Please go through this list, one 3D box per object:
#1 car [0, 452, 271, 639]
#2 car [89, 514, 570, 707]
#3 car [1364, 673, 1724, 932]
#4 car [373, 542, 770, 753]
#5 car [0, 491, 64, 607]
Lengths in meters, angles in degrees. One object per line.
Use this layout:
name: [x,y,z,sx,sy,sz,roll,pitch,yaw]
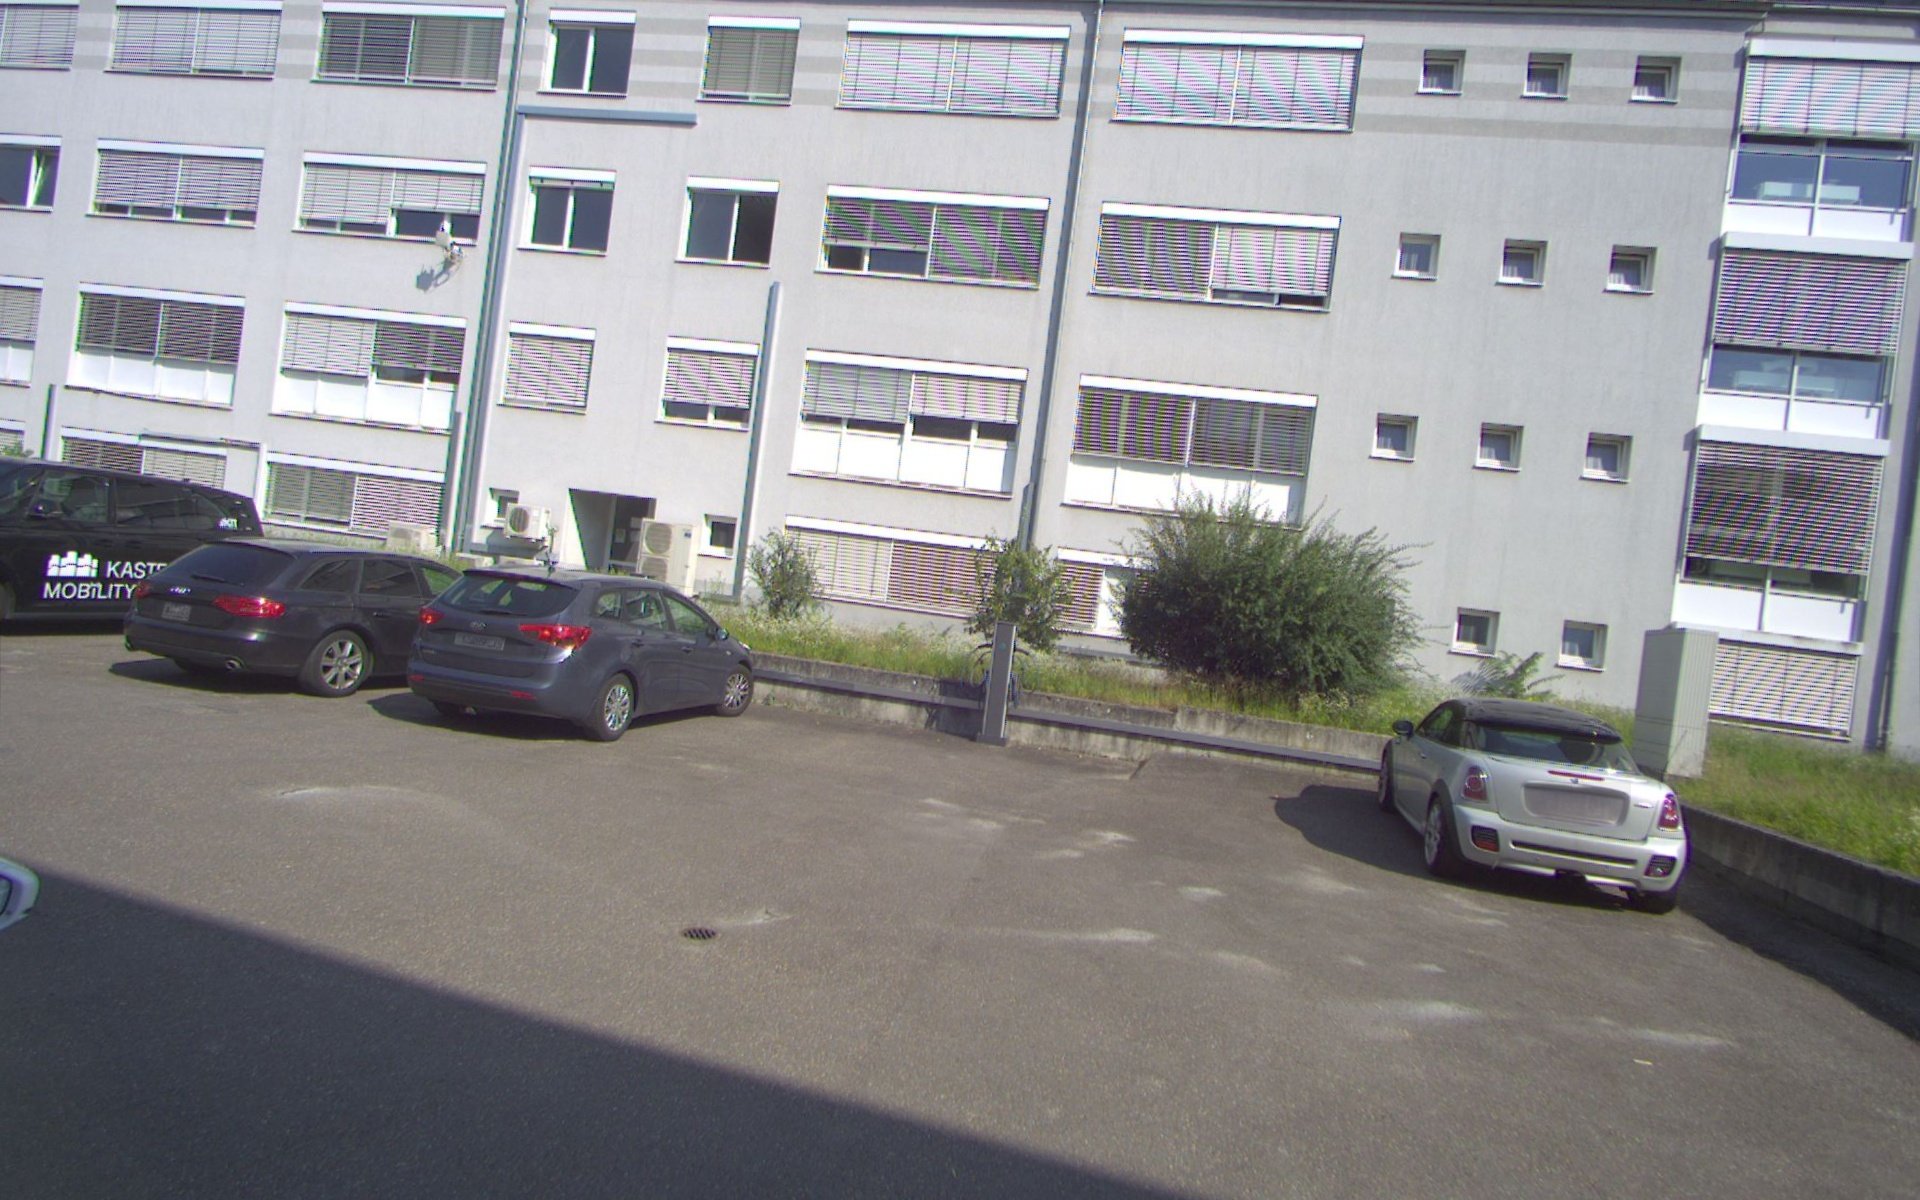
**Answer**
car: [-10.453,-0.639,11.326,1.878,1.881,4.351,8,0,7]
car: [-6.288,0.163,10.732,1.658,1.455,4.249,8,0,14]
car: [4.817,1.545,8.898,1.627,1.455,3.584,8,0,14]
car: [-3.604,0.450,10.253,1.709,1.496,4.063,8,0,12]
car: [-13.272,-0.786,11.877,1.632,1.483,3.910,8,0,3]
